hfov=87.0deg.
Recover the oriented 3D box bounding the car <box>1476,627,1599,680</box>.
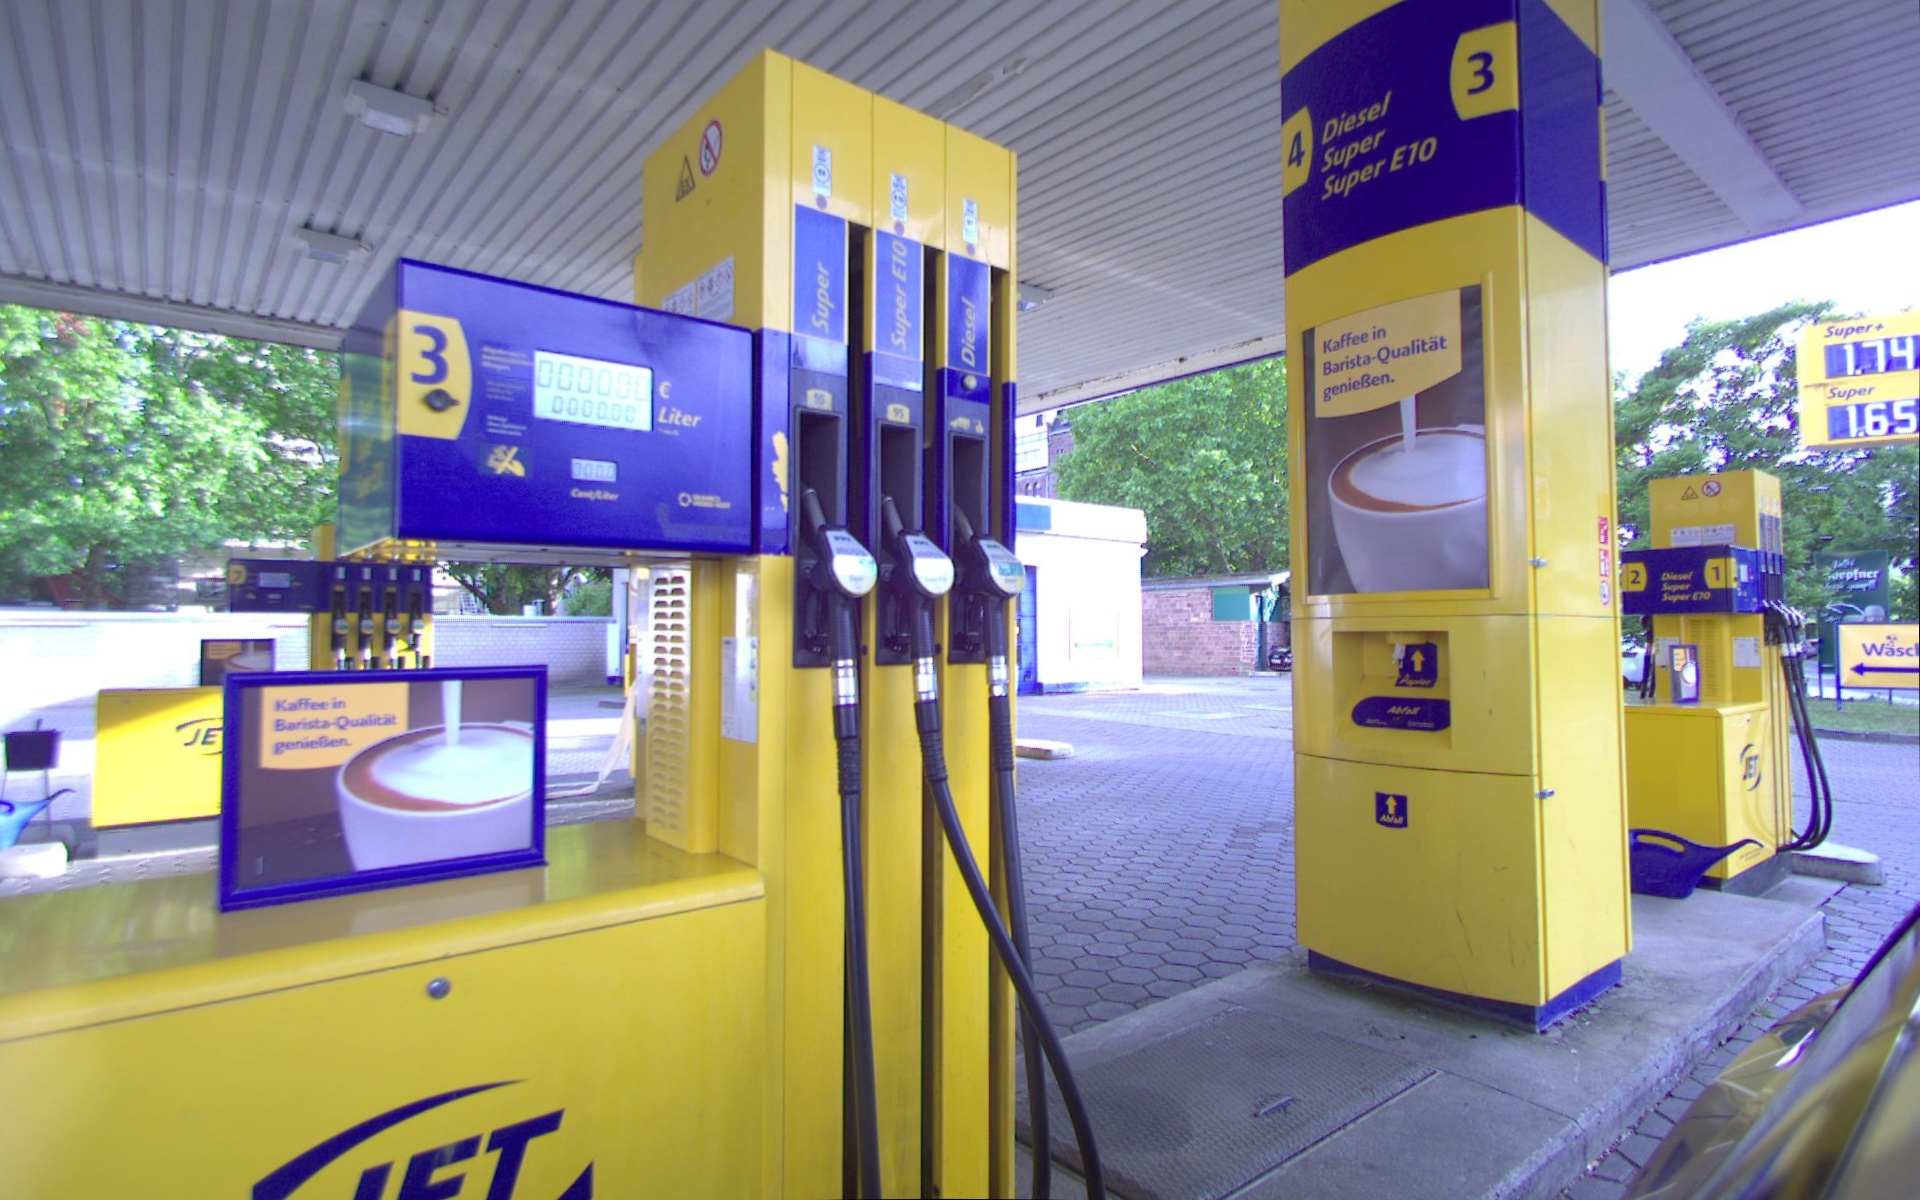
[{"bbox_3d":[17.567,1.636,30.753,3.923,1.529,1.740,3,-3,-35],"label":"car"}]

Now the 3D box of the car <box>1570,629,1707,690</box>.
[{"bbox_3d":[18.232,1.557,27.166,3.923,1.529,1.740,2,-3,-35],"label":"car"}]

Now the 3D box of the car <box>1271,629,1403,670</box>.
[{"bbox_3d":[12.841,1.692,34.502,4.134,1.294,1.751,2,-3,-22],"label":"car"}]

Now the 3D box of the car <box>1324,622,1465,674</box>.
[{"bbox_3d":[13.801,1.542,32.153,4.134,1.544,1.791,2,-3,-24],"label":"car"}]
